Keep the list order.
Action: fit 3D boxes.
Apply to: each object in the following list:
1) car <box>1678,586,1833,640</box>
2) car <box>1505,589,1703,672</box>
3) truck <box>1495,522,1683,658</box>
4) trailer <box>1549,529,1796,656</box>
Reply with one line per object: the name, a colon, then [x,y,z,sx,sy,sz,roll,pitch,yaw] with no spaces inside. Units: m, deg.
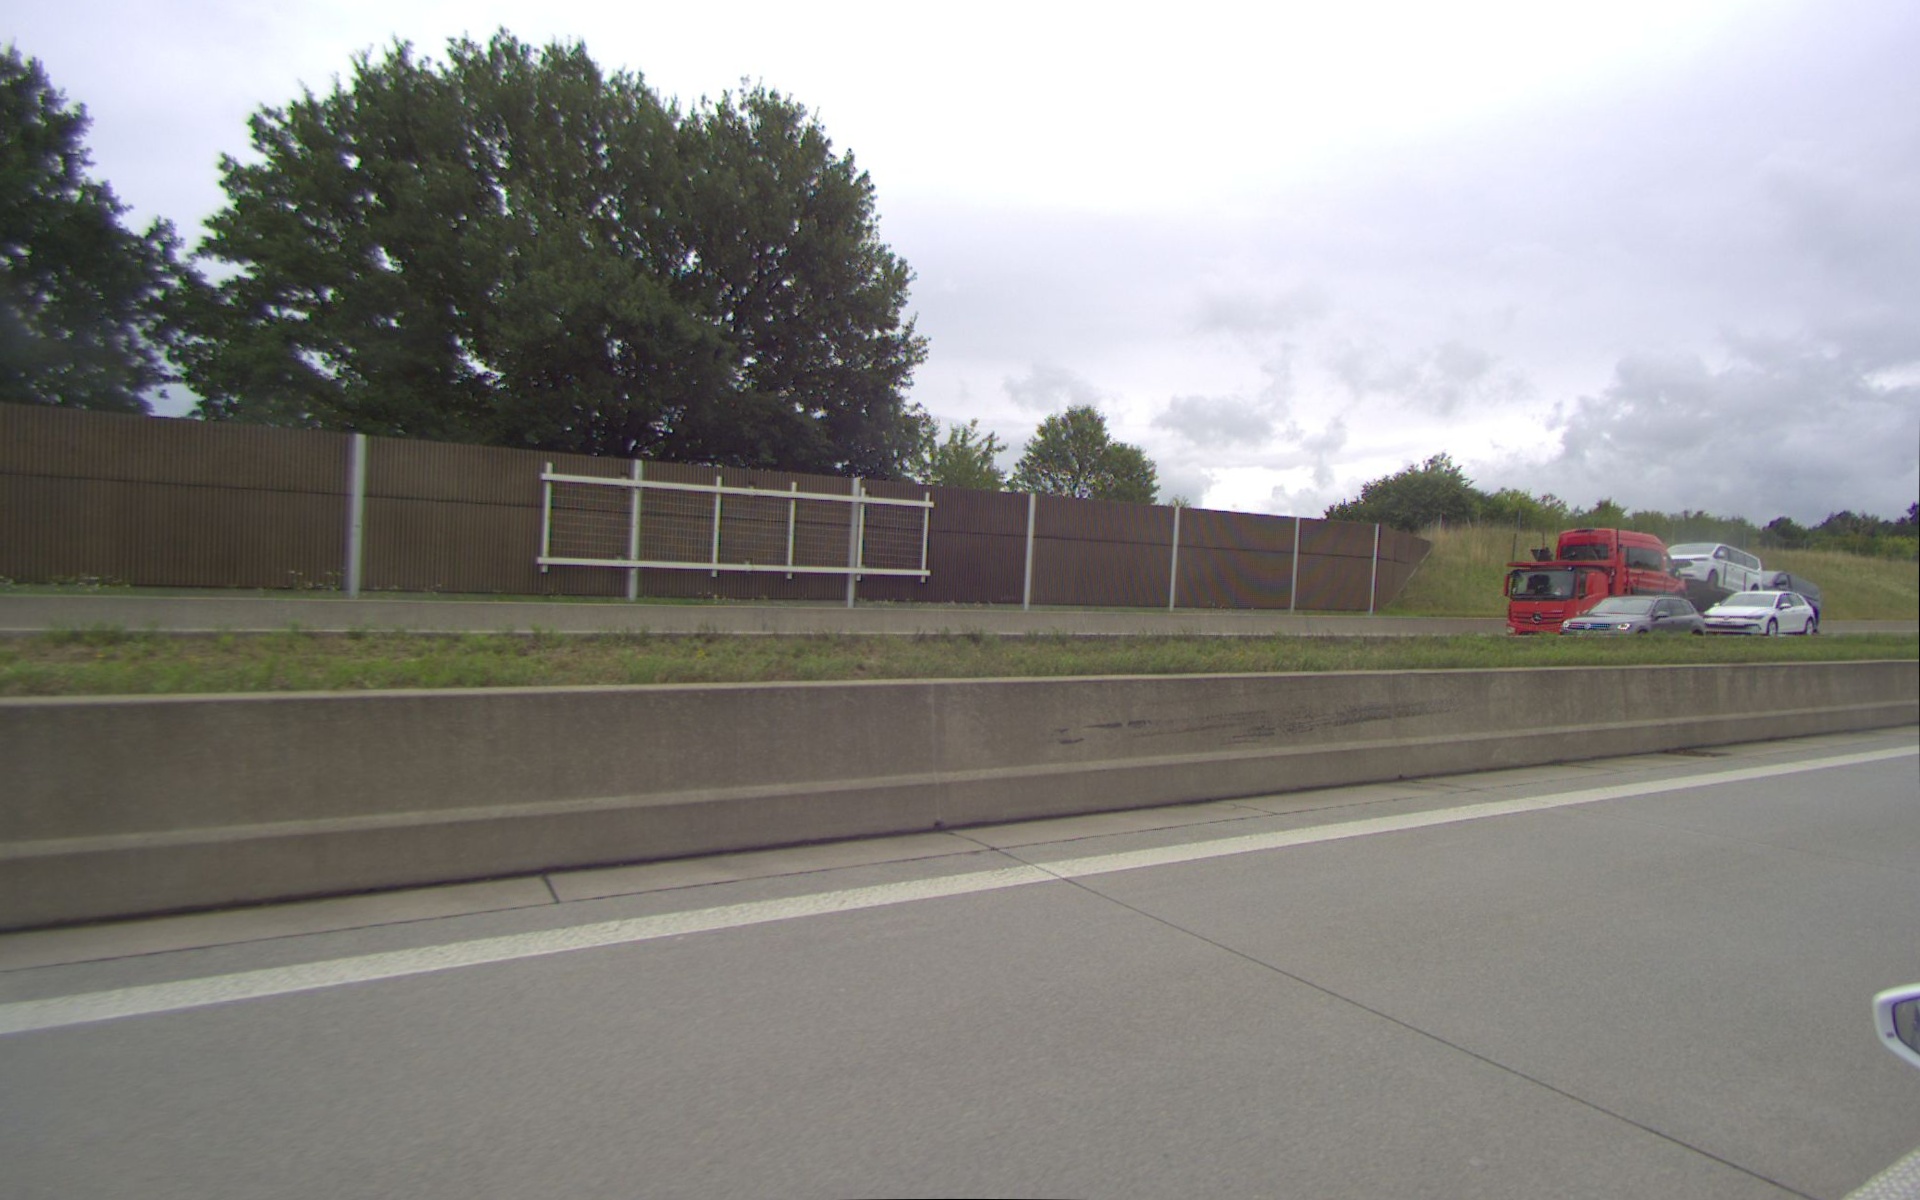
car: [25.451,0.395,32.091,5.287,1.572,2.138,0,1,-31]
car: [17.398,0.809,27.060,5.682,2.040,2.138,2,0,-31]
truck: [21.911,-0.252,34.866,7.383,4.308,2.537,1,0,-33]
trailer: [27.661,-0.105,38.534,13.833,4.274,2.539,2,0,-32]
